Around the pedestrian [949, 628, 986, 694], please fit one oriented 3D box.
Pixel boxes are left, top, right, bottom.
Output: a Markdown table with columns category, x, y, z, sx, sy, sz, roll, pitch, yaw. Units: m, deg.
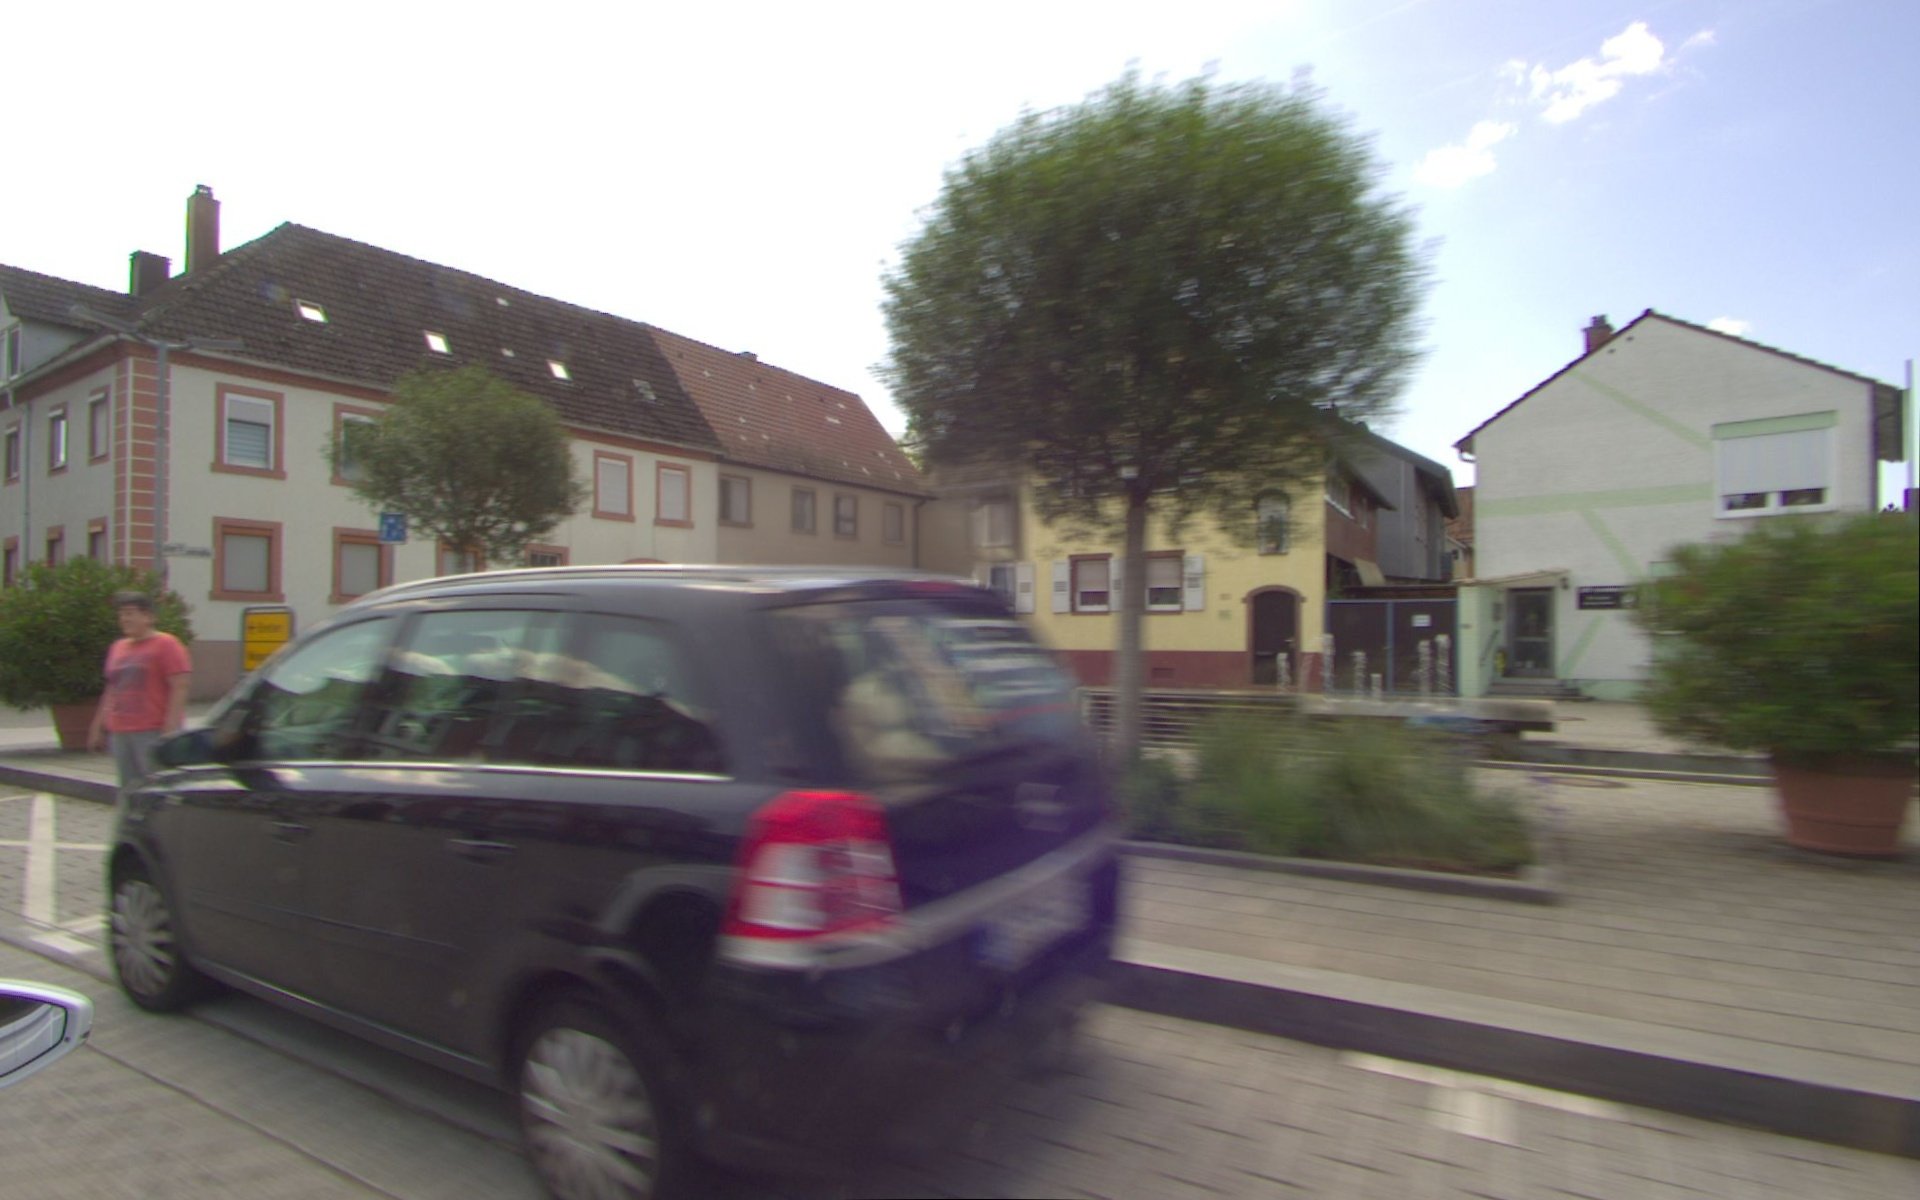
| category | x | y | z | sx | sy | sz | roll | pitch | yaw |
| --- | --- | --- | --- | --- | --- | --- | --- | --- | --- |
| pedestrian | 0.148 | 1.237 | 20.398 | 0.528 | 1.300 | 0.788 | 0 | -1 | -18 |

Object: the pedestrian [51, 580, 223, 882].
| category | x | y | z | sx | sy | sz | roll | pitch | yaw |
| --- | --- | --- | --- | --- | --- | --- | --- | --- | --- |
| pedestrian | -4.857 | 0.730 | 5.919 | 0.612 | 1.650 | 0.637 | -1 | -1 | 35 |

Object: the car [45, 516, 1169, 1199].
| category | x | y | z | sx | sy | sz | roll | pitch | yaw |
| --- | --- | --- | --- | --- | --- | --- | --- | --- | --- |
| car | -1.612 | 0.677 | 3.758 | 4.359 | 1.585 | 1.763 | -1 | 0 | 35 |

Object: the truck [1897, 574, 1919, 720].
| category | x | y | z | sx | sy | sz | roll | pitch | yaw |
| --- | --- | --- | --- | --- | --- | --- | --- | --- | --- |
| truck | 19.875 | 0.869 | 19.007 | 2.927 | 2.529 | 6.764 | -1 | -2 | 44 |

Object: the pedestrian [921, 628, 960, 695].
| category | x | y | z | sx | sy | sz | roll | pitch | yaw |
| --- | --- | --- | --- | --- | --- | --- | --- | --- | --- |
| pedestrian | -0.387 | 1.225 | 19.974 | 0.603 | 1.300 | 0.671 | 0 | -1 | -18 |

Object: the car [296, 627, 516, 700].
| category | x | y | z | sx | sy | sz | roll | pitch | yaw |
| --- | --- | --- | --- | --- | --- | --- | --- | --- | --- |
| car | -12.415 | 1.369 | 22.647 | 1.802 | 1.492 | 3.979 | -1 | -2 | 38 |

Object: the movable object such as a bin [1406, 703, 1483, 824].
| category | x | y | z | sx | sy | sz | roll | pitch | yaw |
| --- | --- | --- | --- | --- | --- | --- | --- | --- | --- |
| movable object such as a bin | 3.324 | 1.101 | 6.866 | 0.386 | 0.742 | 0.563 | -1 | -2 | 36 |
